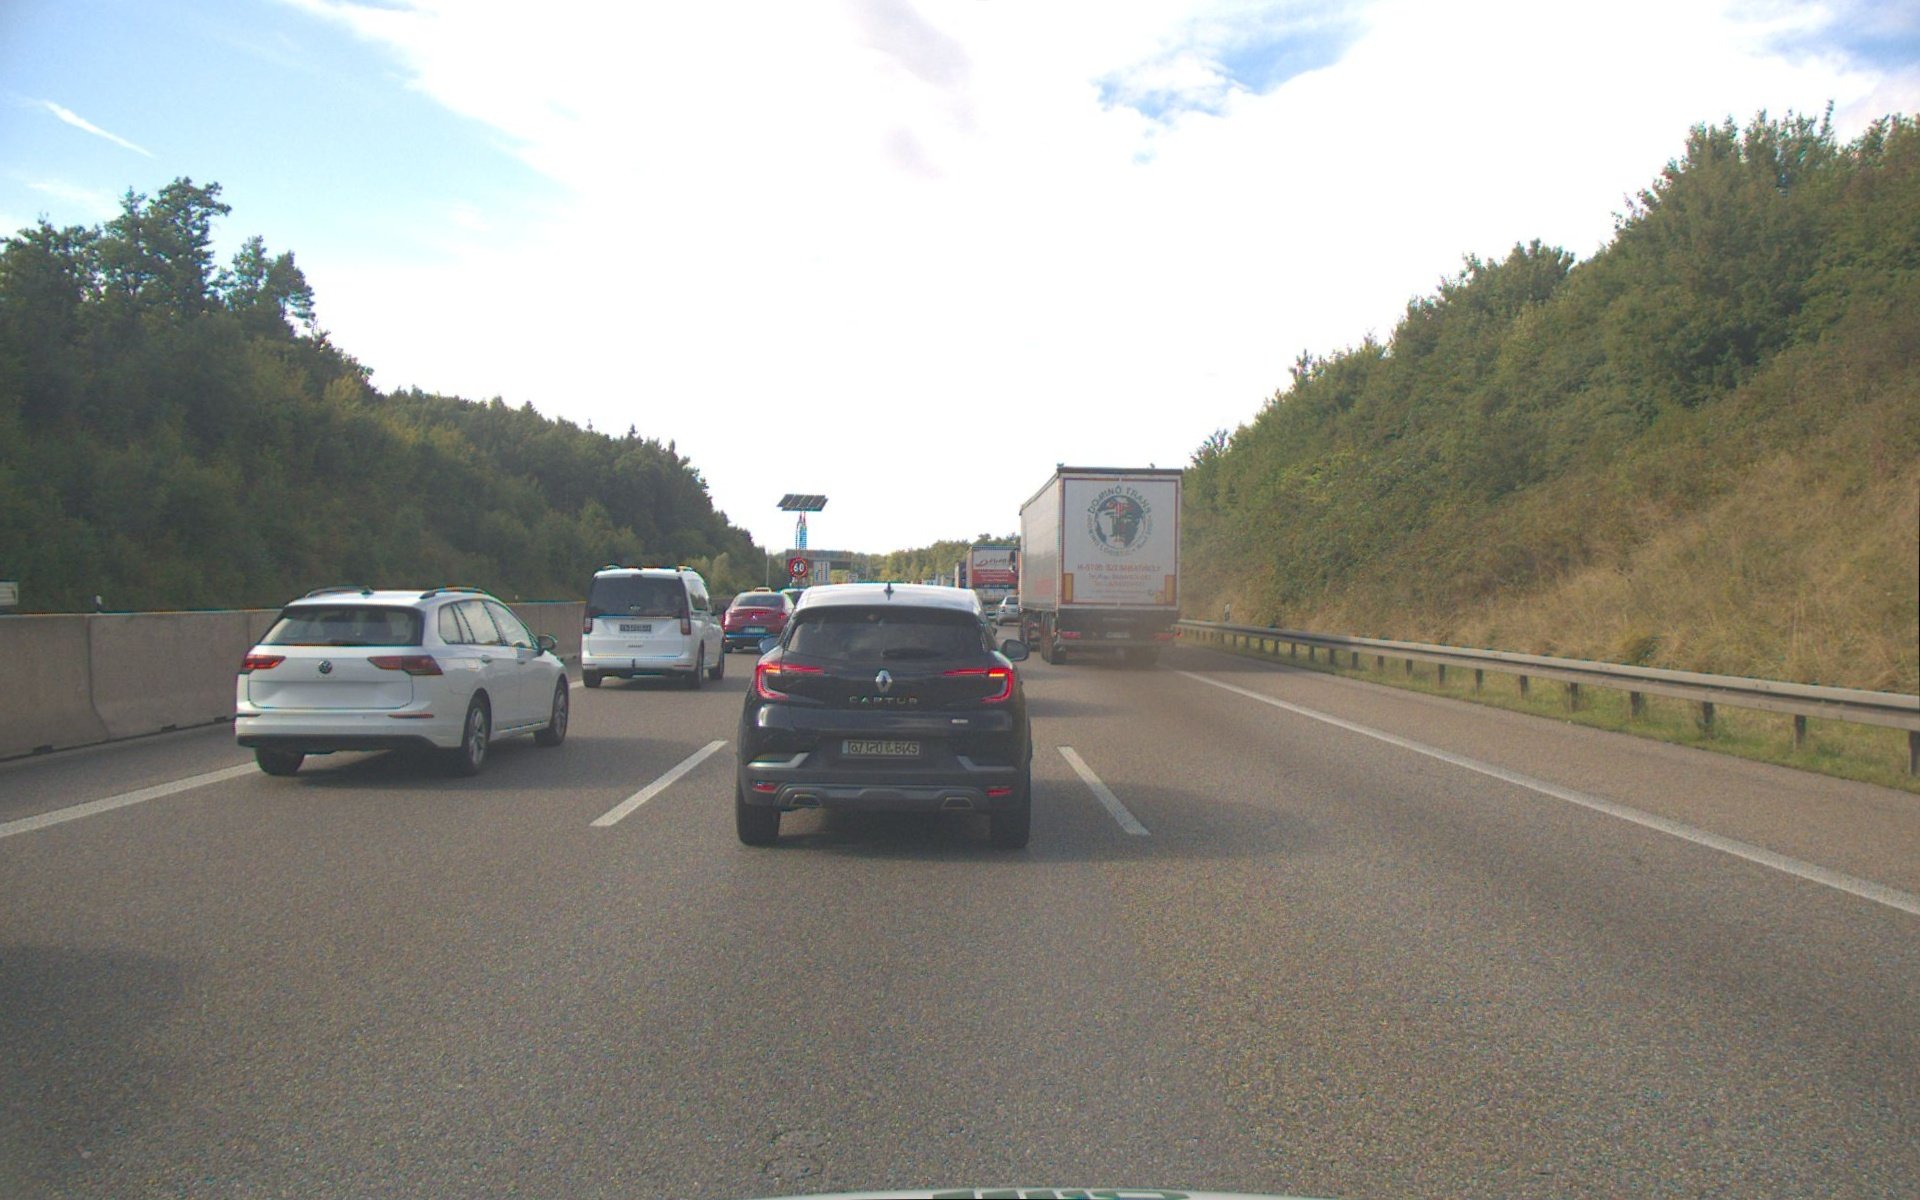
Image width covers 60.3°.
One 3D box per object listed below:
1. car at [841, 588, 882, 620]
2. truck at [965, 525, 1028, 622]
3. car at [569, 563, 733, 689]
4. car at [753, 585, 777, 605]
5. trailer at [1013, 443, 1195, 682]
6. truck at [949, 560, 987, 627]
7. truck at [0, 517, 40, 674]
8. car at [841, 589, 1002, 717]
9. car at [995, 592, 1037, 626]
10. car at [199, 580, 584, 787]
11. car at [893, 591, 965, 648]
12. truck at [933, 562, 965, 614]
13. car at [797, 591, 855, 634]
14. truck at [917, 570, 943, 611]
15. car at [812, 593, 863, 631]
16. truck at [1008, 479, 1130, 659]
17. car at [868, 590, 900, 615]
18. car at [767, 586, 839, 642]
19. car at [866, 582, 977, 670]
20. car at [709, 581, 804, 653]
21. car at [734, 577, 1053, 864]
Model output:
[{"bbox_3d":[-5.238,0.201,88.633,1.953,1.641,4.000,1,0,0],"label":"car"},{"bbox_3d":[1.967,-1.400,95.124,3.296,5.132,12.736,1,0,0],"label":"truck"},{"bbox_3d":[-4.819,0.388,26.411,1.873,1.821,4.416,1,0,-2],"label":"car"},{"bbox_3d":[-19.006,-0.505,161.268,1.814,1.841,4.924,1,0,-1],"label":"car"},{"bbox_3d":[3.094,-0.785,39.642,2.941,4.742,13.287,1,0,-1],"label":"trailer"},{"bbox_3d":[0.660,-0.512,145.042,3.102,5.601,12.736,1,0,0],"label":"truck"},{"bbox_3d":[-18.860,-0.090,28.572,2.373,2.905,6.429,1,0,-1],"label":"truck"},{"bbox_3d":[-0.481,0.663,22.357,1.953,1.540,4.000,1,0,0],"label":"car"},{"bbox_3d":[2.660,0.430,79.695,1.768,1.559,3.924,1,0,-2],"label":"car"},{"bbox_3d":[-4.628,0.611,14.189,1.767,1.486,4.308,1,0,0],"label":"car"},{"bbox_3d":[-0.846,0.542,47.415,1.953,1.540,4.000,1,0,0],"label":"car"},{"bbox_3d":[-1.169,-1.278,186.144,3.101,5.601,12.739,1,0,1],"label":"truck"},{"bbox_3d":[-5.296,0.497,65.877,1.953,1.641,4.000,1,0,0],"label":"car"},{"bbox_3d":[-3.902,-1.222,220.252,3.102,5.250,12.736,1,0,0],"label":"truck"},{"bbox_3d":[-5.416,0.528,73.410,1.953,1.641,4.000,1,0,0],"label":"car"},{"bbox_3d":[2.984,-0.832,46.849,2.936,4.749,5.938,1,0,-1],"label":"truck"},{"bbox_3d":[-5.136,0.170,111.683,1.953,1.641,4.000,1,0,0],"label":"car"},{"bbox_3d":[-5.087,0.449,54.146,1.953,1.752,4.000,1,0,0],"label":"car"},{"bbox_3d":[-0.692,0.475,31.572,1.953,1.540,4.000,1,0,0],"label":"car"},{"bbox_3d":[-4.994,0.414,40.975,1.817,1.669,3.925,1,0,0],"label":"car"},{"bbox_3d":[-0.312,0.665,11.194,1.767,1.579,4.001,0,0,2],"label":"car"}]
